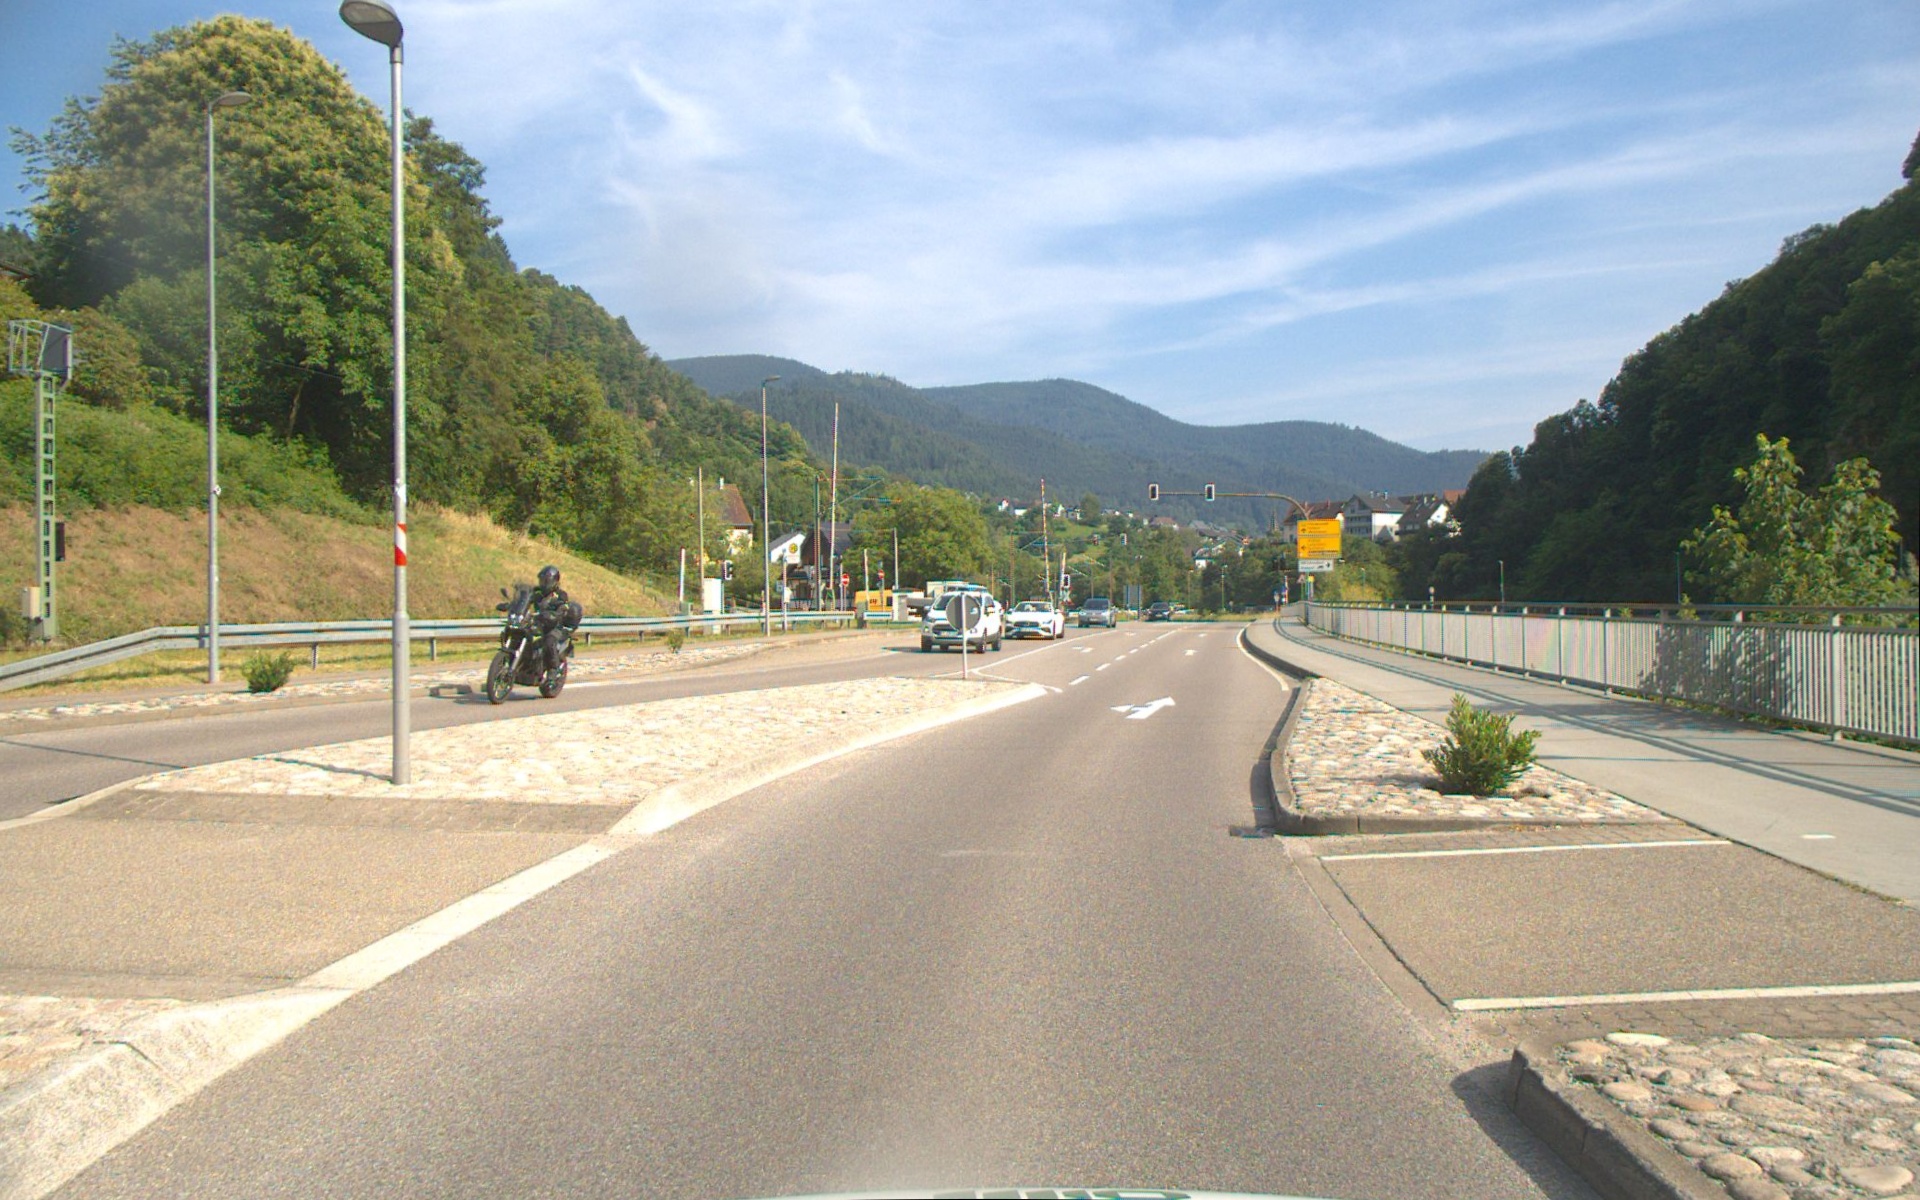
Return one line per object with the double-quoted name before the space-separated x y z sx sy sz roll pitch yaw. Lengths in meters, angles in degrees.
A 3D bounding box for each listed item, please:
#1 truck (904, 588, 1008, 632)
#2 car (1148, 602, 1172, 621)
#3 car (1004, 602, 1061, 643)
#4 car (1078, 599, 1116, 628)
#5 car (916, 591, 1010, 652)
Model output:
"truck" -0.254 0.531 90.518 5.895 2.306 1.988 1 0 42
"car" 15.655 0.901 129.448 1.735 1.441 3.788 -1 0 9
"car" 2.761 0.837 62.349 1.744 1.424 4.830 1 0 7
"car" 7.465 0.744 89.847 1.721 1.548 4.208 1 -1 10
"car" 0.136 0.583 45.403 1.726 1.588 4.003 -1 -1 13
